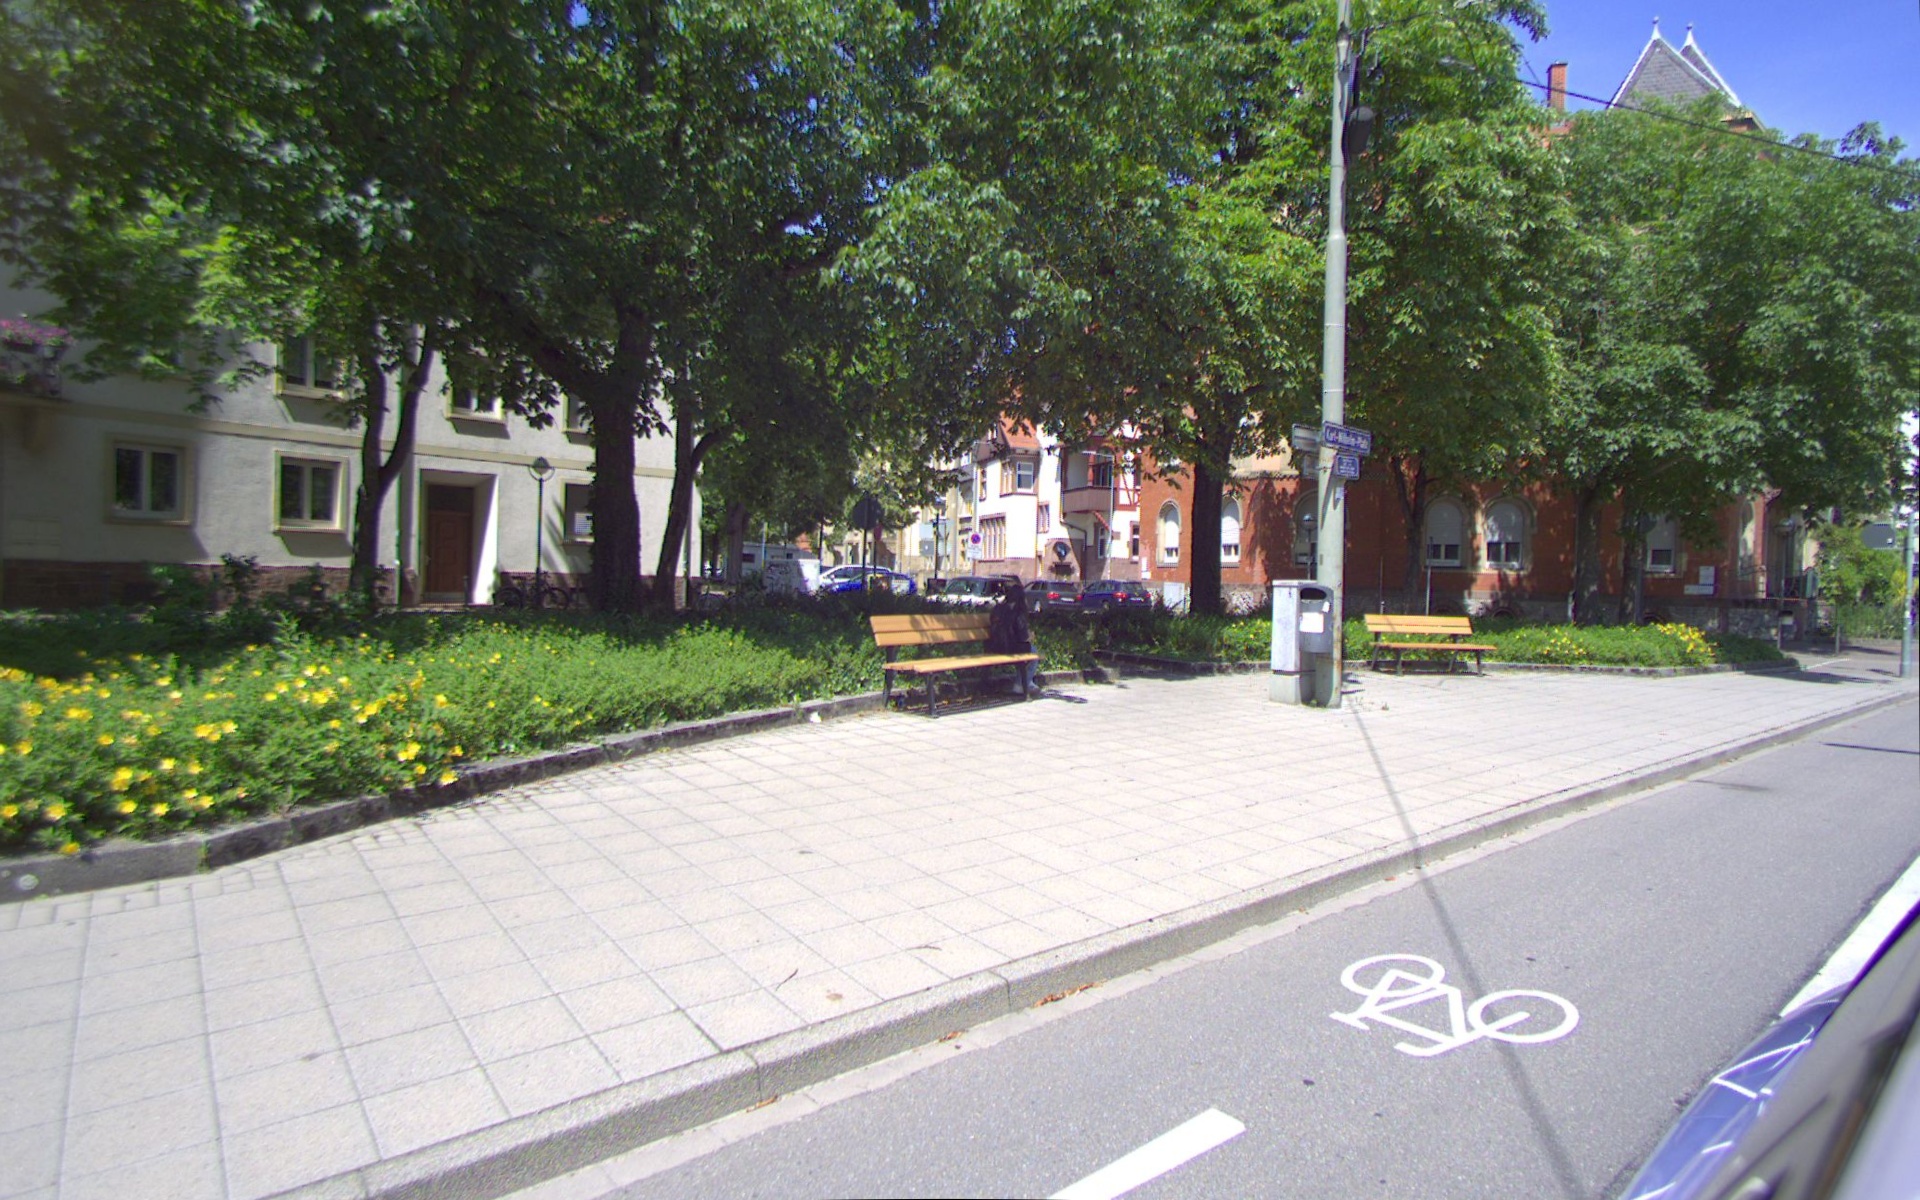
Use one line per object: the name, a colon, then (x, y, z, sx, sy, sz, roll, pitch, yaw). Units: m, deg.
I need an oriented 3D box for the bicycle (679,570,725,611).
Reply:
bicycle: (-6.775, -0.259, 26.474, 0.736, 1.024, 2.273, 0, 0, -26)

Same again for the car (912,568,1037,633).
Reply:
car: (0.441, 0.004, 25.917, 1.690, 1.525, 3.615, 2, 1, 29)

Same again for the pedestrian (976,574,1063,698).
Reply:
pedestrian: (0.599, 0.335, 10.074, 0.562, 1.156, 0.718, 3, 2, 33)

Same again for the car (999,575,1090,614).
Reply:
car: (3.377, -0.227, 41.491, 1.897, 1.501, 5.046, 0, 0, -18)

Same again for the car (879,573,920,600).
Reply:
car: (-4.502, -1.004, 74.461, 1.897, 1.897, 4.318, 0, 0, -19)

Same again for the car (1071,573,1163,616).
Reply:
car: (6.275, -0.233, 41.025, 1.897, 1.638, 4.318, 0, 0, -19)

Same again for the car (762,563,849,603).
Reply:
car: (-8.084, -0.881, 52.937, 4.219, 2.029, 1.942, 0, 0, -18)

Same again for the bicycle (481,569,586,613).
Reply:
bicycle: (-10.252, -0.221, 24.375, 2.230, 1.024, 0.751, -1, 0, -41)

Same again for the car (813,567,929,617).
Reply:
car: (-3.544, -0.322, 40.015, 4.219, 1.903, 1.942, 0, 0, -18)

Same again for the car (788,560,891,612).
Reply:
car: (-5.371, -0.627, 44.828, 4.219, 2.219, 1.942, 0, 0, -18)

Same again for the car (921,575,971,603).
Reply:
car: (-0.918, -0.690, 63.252, 1.897, 1.638, 4.318, 0, 0, -19)

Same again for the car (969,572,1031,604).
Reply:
car: (2.067, -0.619, 54.074, 1.897, 1.638, 4.318, 0, 0, -19)

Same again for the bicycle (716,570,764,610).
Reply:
bicycle: (-5.868, -0.268, 26.903, 0.736, 1.024, 2.273, 0, 0, -26)
